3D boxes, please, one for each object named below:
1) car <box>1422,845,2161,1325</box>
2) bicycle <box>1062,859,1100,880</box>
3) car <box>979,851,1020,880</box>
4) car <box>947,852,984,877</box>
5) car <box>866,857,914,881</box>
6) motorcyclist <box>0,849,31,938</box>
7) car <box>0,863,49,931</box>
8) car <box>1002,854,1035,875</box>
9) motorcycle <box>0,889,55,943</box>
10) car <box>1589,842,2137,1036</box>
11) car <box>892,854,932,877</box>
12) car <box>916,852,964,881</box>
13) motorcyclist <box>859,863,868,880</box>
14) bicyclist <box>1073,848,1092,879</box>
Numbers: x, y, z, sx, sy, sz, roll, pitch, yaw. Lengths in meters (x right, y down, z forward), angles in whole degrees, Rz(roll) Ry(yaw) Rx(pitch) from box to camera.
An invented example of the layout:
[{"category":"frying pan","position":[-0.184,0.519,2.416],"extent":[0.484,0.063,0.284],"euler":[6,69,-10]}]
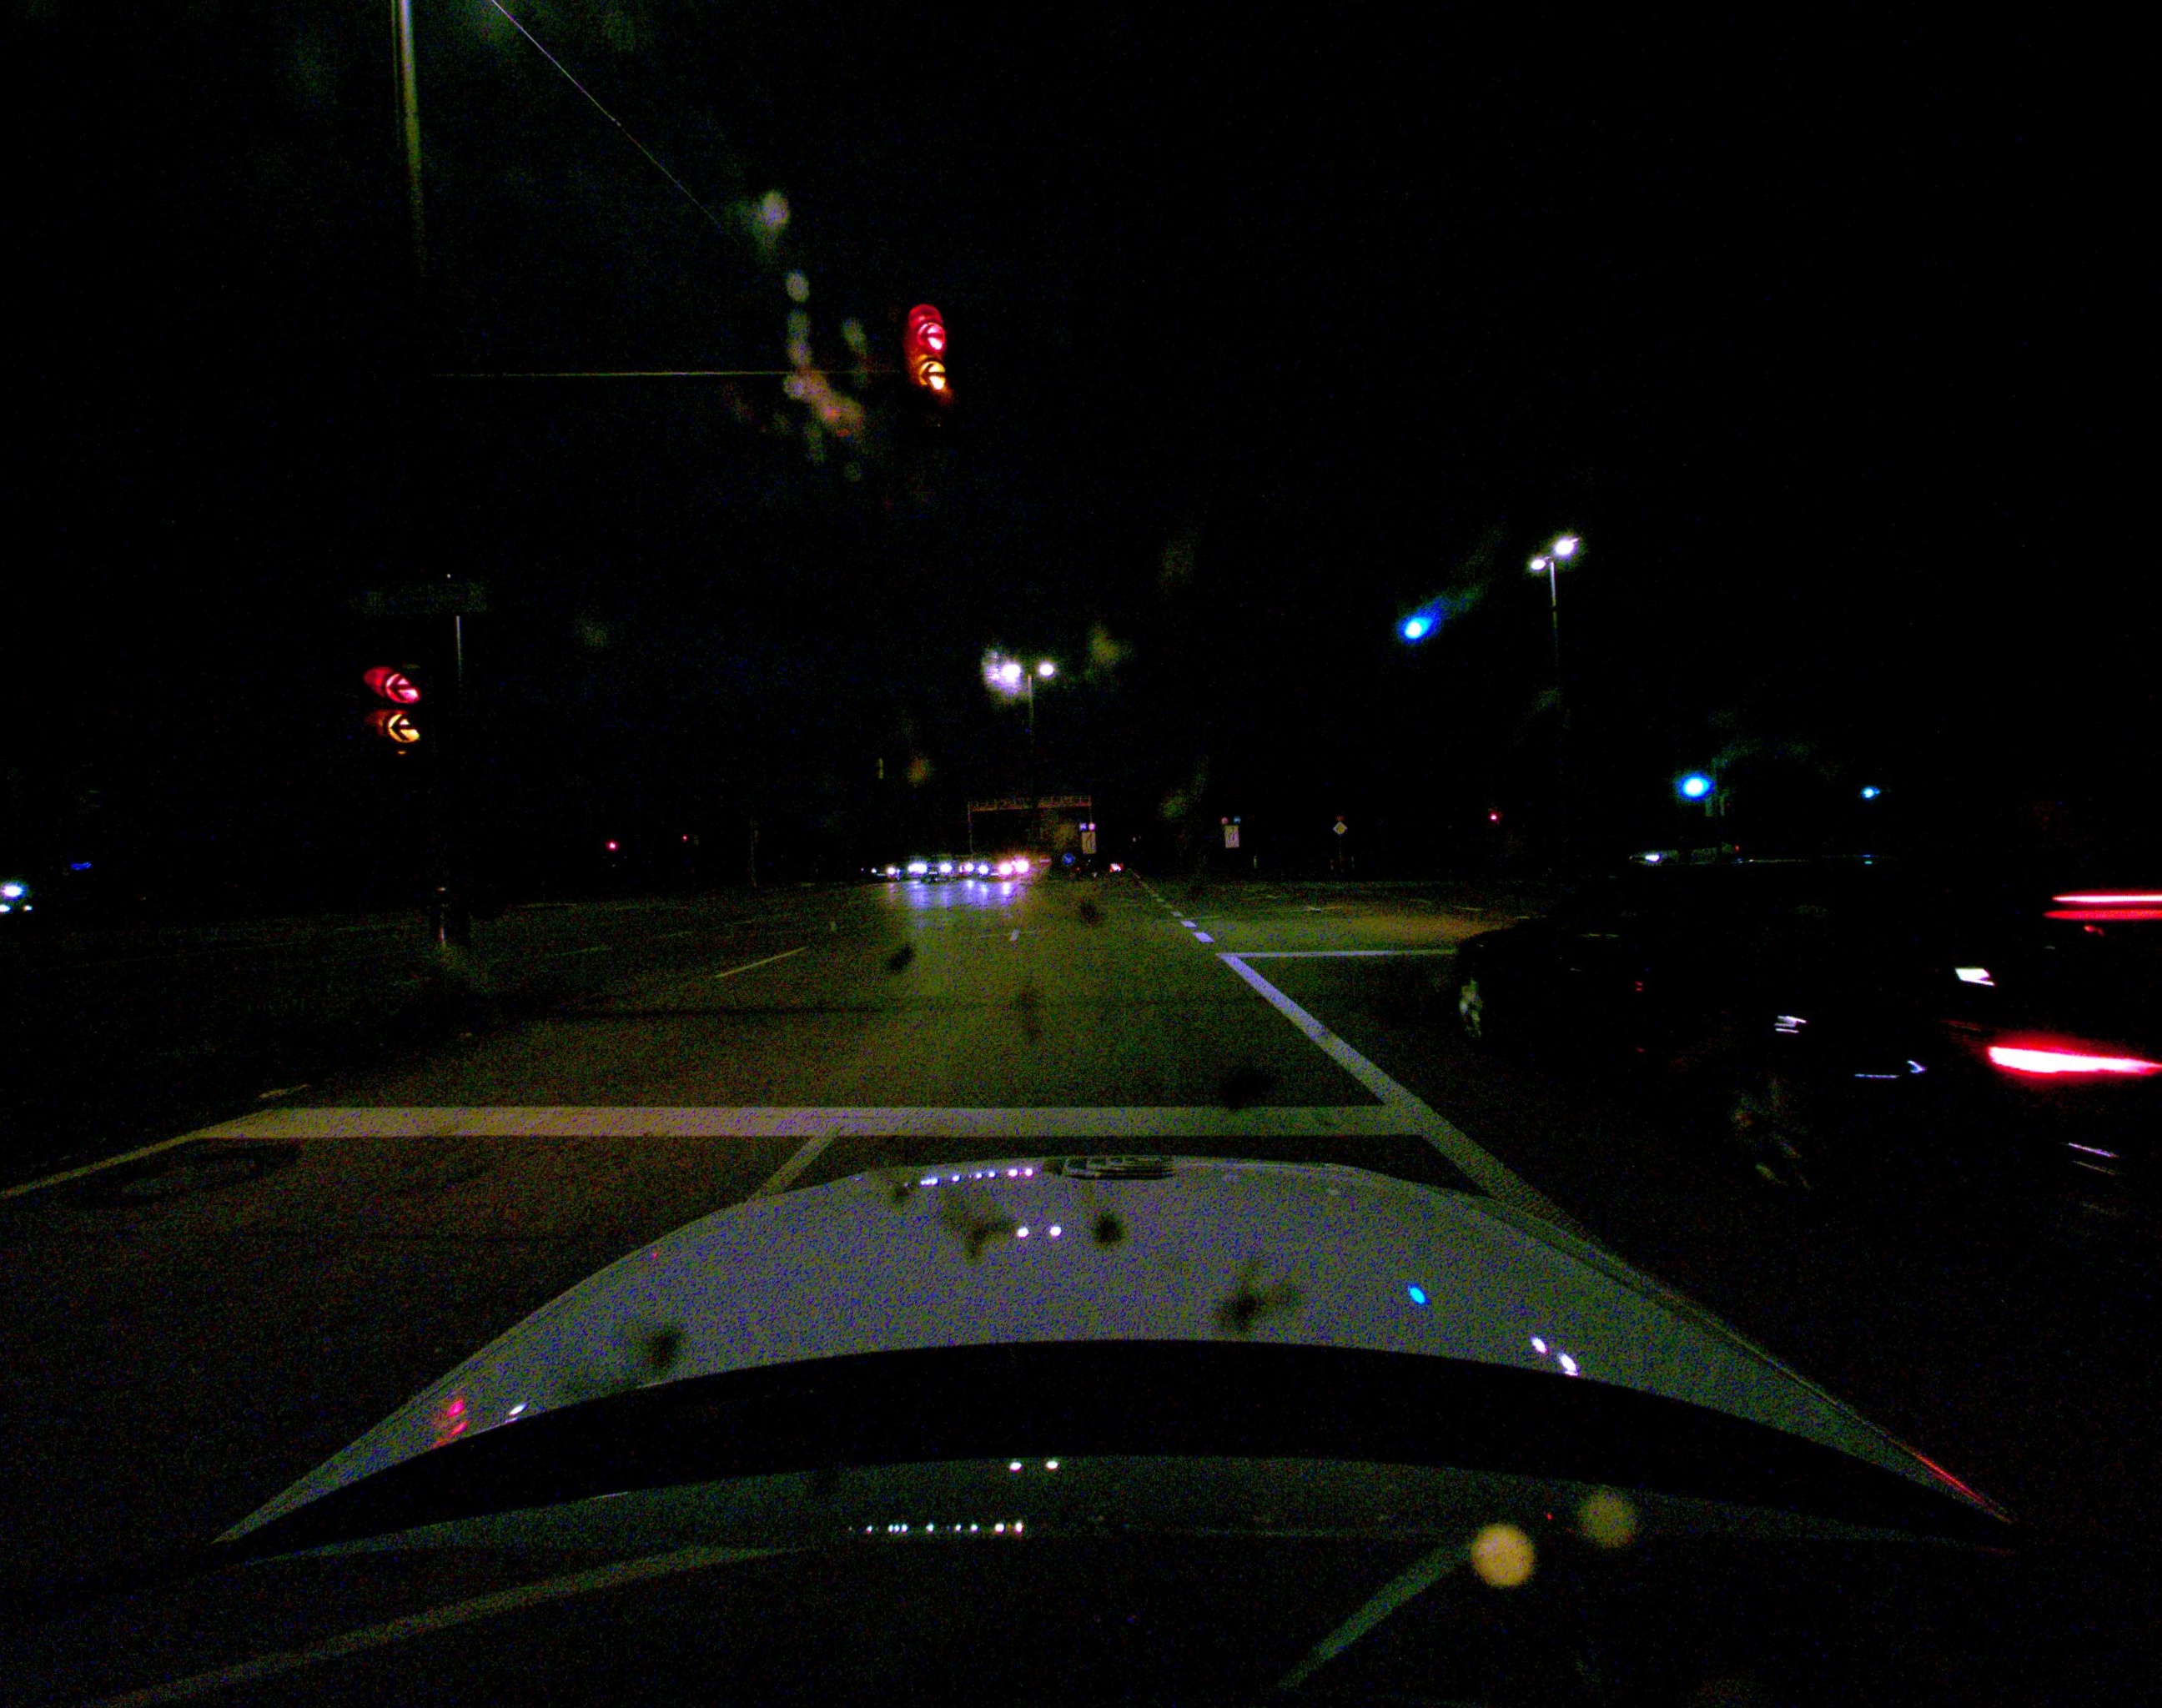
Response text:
[{"category":"car","position":[3.794,0.702,4.728],"extent":[1.784,1.443,4.534],"euler":[0,0,1]},{"category":"bicycle","position":[0.005,0.837,44.686],"extent":[2.057,1.101,0.694],"euler":[-1,0,-4]},{"category":"car","position":[-5.063,0.676,51.149],"extent":[1.844,1.633,4.589],"euler":[-1,0,3]},{"category":"car","position":[-8.222,0.740,58.356],"extent":[1.738,1.626,4.367],"euler":[-1,1,4]},{"category":"car","position":[-12.159,0.932,52.094],"extent":[1.772,1.445,4.297],"euler":[-1,0,5]},{"category":"motorcyclist","position":[-24.735,0.899,18.577],"extent":[0.761,2.013,0.637],"euler":[-1,0,6]},{"category":"car","position":[-31.494,1.213,22.063],"extent":[4.741,1.814,1.850],"euler":[-1,0,1]},{"category":"car","position":[-4.486,0.743,59.015],"extent":[1.765,1.481,3.914],"euler":[-1,0,4]},{"category":"motorcycle","position":[-24.544,1.399,18.485],"extent":[1.793,1.163,0.674],"euler":[-1,0,6]},{"category":"car","position":[7.301,0.658,8.323],"extent":[1.614,1.443,4.117],"euler":[-2,0,-1]},{"category":"car","position":[-12.075,0.795,58.358],"extent":[1.824,1.524,4.003],"euler":[-2,0,3]},{"category":"car","position":[-8.737,0.748,50.842],"extent":[1.900,1.682,4.424],"euler":[-1,0,4]},{"category":"motorcyclist","position":[-23.745,1.877,88.946],"extent":[0.680,1.759,0.789],"euler":[-5,-2,-4]},{"category":"bicyclist","position":[0.092,0.504,44.708],"extent":[0.995,1.651,0.603],"euler":[-1,0,-3]}]
